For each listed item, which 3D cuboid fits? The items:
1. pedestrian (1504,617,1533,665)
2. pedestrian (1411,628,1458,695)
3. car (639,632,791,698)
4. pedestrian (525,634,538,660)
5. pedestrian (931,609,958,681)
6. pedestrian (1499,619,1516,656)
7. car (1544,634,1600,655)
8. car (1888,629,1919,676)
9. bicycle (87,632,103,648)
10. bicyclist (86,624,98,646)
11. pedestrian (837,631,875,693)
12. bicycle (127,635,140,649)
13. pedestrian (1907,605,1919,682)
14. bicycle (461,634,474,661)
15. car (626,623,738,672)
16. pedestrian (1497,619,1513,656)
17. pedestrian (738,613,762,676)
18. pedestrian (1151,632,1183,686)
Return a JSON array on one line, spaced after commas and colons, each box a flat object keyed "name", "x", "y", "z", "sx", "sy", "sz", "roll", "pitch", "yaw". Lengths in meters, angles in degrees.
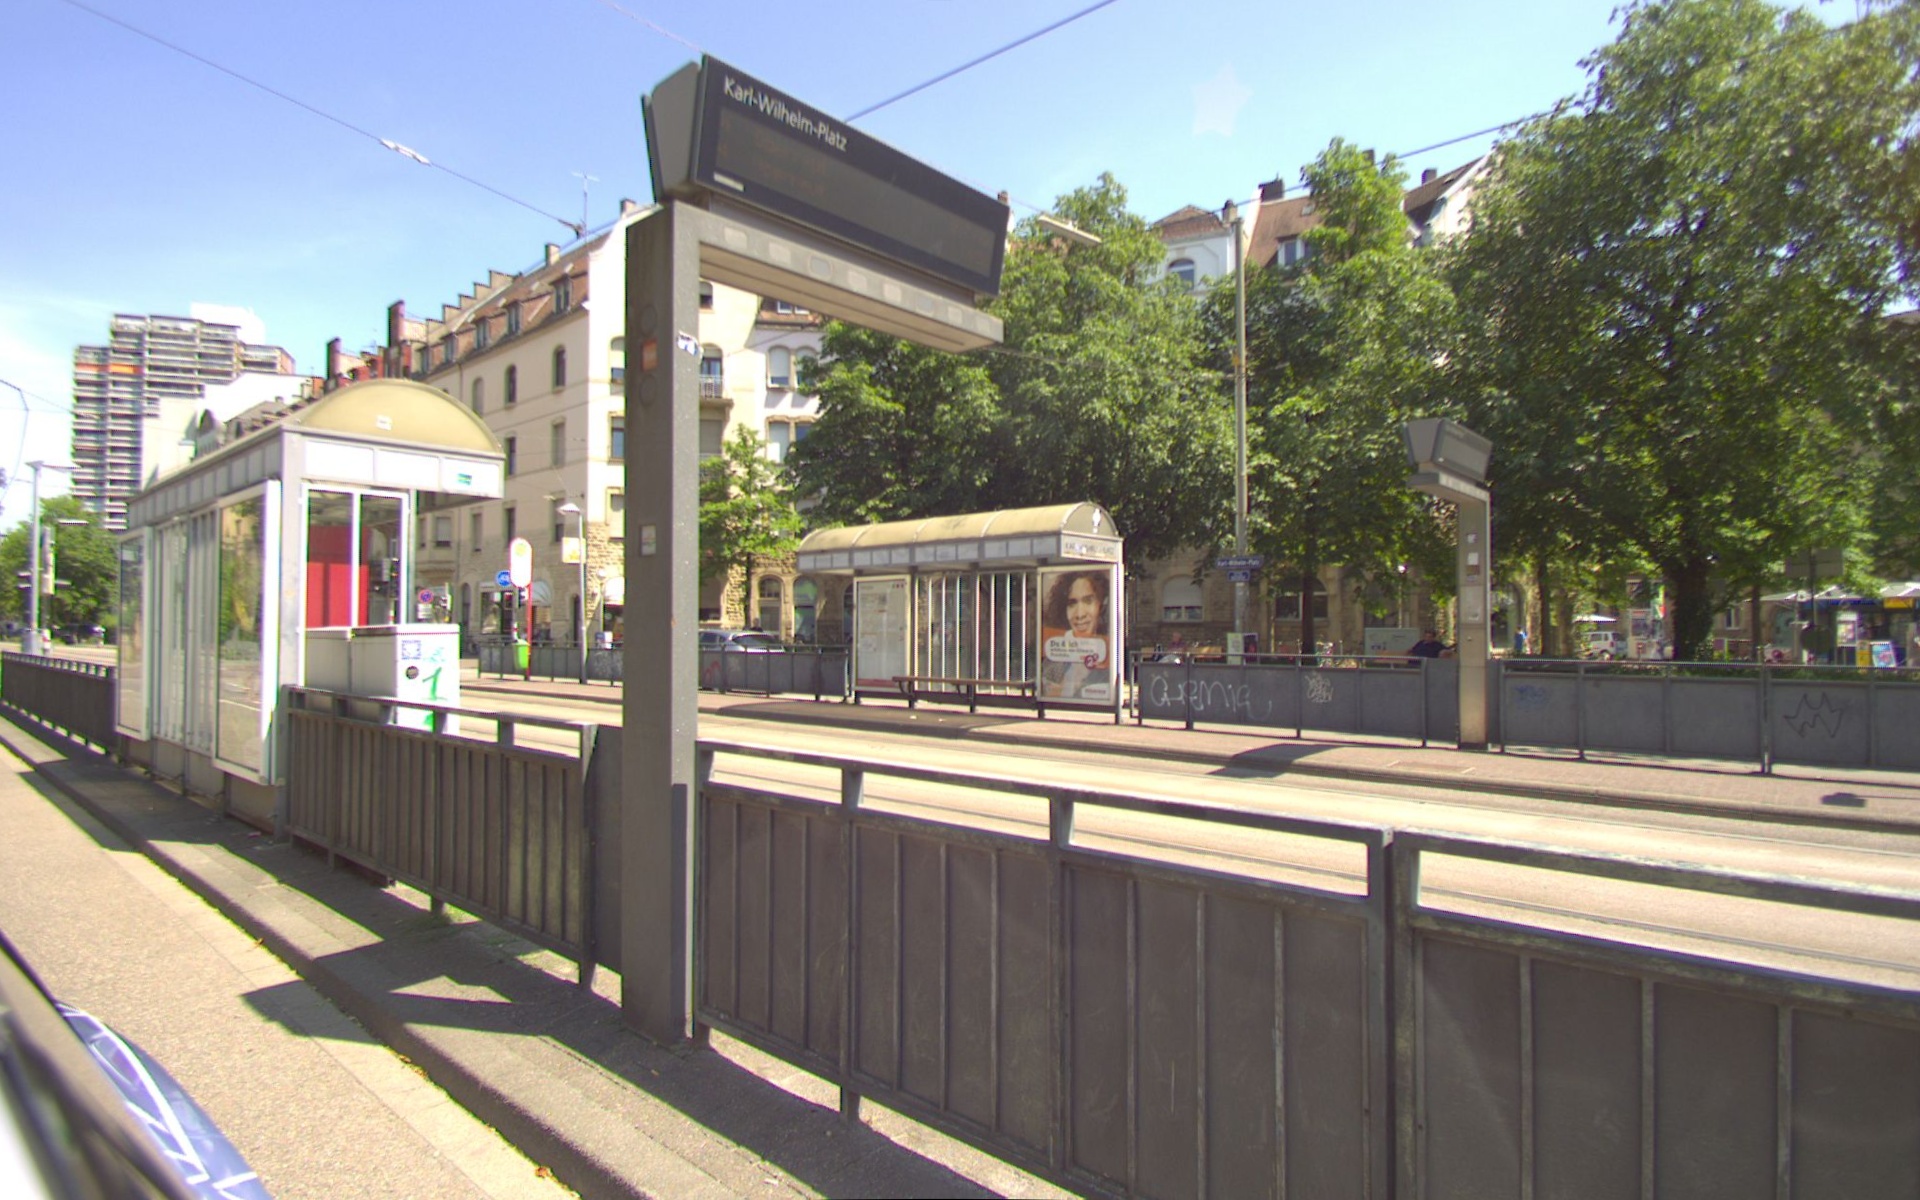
[{"name": "pedestrian", "x": 20.692, "y": 1.521, "z": 37.499, "sx": 0.606, "sy": 1.764, "sz": 0.719, "roll": 0, "pitch": -1, "yaw": -25}, {"name": "pedestrian", "x": 9.402, "y": 1.214, "z": 20.077, "sx": 0.637, "sy": 1.297, "sz": 0.618, "roll": 0, "pitch": -1, "yaw": 2}, {"name": "car", "x": -5.681, "y": 1.444, "z": 23.298, "sx": 3.716, "sy": 1.349, "sz": 1.525, "roll": -1, "pitch": -1, "yaw": 40}, {"name": "pedestrian", "x": -19.447, "y": 2.122, "z": 45.899, "sx": 0.405, "sy": 1.157, "sz": 0.401, "roll": -1, "pitch": -1, "yaw": 38}, {"name": "pedestrian", "x": -0.407, "y": 1.179, "z": 26.805, "sx": 0.504, "sy": 1.893, "sz": 0.494, "roll": 1, "pitch": -2, "yaw": -44}, {"name": "pedestrian", "x": 24.591, "y": 1.660, "z": 45.427, "sx": 0.560, "sy": 1.635, "sz": 0.507, "roll": -1, "pitch": -2, "yaw": 41}, {"name": "car", "x": 26.469, "y": 1.933, "z": 43.797, "sx": 1.899, "sy": 0.872, "sz": 0.856, "roll": 0, "pitch": -1, "yaw": 17}, {"name": "car", "x": 32.110, "y": 1.689, "z": 32.867, "sx": 3.676, "sy": 1.453, "sz": 1.546, "roll": 0, "pitch": -1, "yaw": -24}, {"name": "bicycle", "x": -64.156, "y": 2.965, "z": 75.057, "sx": 1.977, "sy": 1.166, "sz": 0.621, "roll": -2, "pitch": -2, "yaw": 42}, {"name": "bicyclist", "x": -64.240, "y": 2.570, "z": 74.892, "sx": 0.585, "sy": 1.586, "sz": 0.602, "roll": -1, "pitch": -2, "yaw": 41}, {"name": "pedestrian", "x": -2.816, "y": 1.662, "z": 27.334, "sx": 0.772, "sy": 1.618, "sz": 0.673, "roll": -1, "pitch": -1, "yaw": 38}, {"name": "bicycle", "x": -65.905, "y": 3.313, "z": 80.722, "sx": 2.046, "sy": 1.105, "sz": 0.487, "roll": -2, "pitch": -2, "yaw": 42}, {"name": "pedestrian", "x": 25.524, "y": 1.130, "z": 26.444, "sx": 0.704, "sy": 2.029, "sz": 0.816, "roll": 0, "pitch": -2, "yaw": -10}, {"name": "bicycle", "x": -24.176, "y": 2.323, "z": 49.692, "sx": 0.447, "sy": 1.234, "sz": 2.086, "roll": 0, "pitch": -1, "yaw": -29}, {"name": "car", "x": -9.664, "y": 1.617, "z": 35.235, "sx": 3.525, "sy": 1.587, "sz": 1.588, "roll": 0, "pitch": -1, "yaw": -27}, {"name": "pedestrian", "x": 24.227, "y": 1.654, "z": 45.011, "sx": 0.526, "sy": 1.635, "sz": 0.491, "roll": -1, "pitch": -2, "yaw": 41}, {"name": "pedestrian", "x": -6.209, "y": 1.308, "z": 29.945, "sx": 0.494, "sy": 1.836, "sz": 0.505, "roll": -1, "pitch": -2, "yaw": 43}, {"name": "pedestrian", "x": 4.977, "y": 1.408, "z": 24.360, "sx": 0.637, "sy": 1.265, "sz": 0.549, "roll": 0, "pitch": -1, "yaw": 2}]
